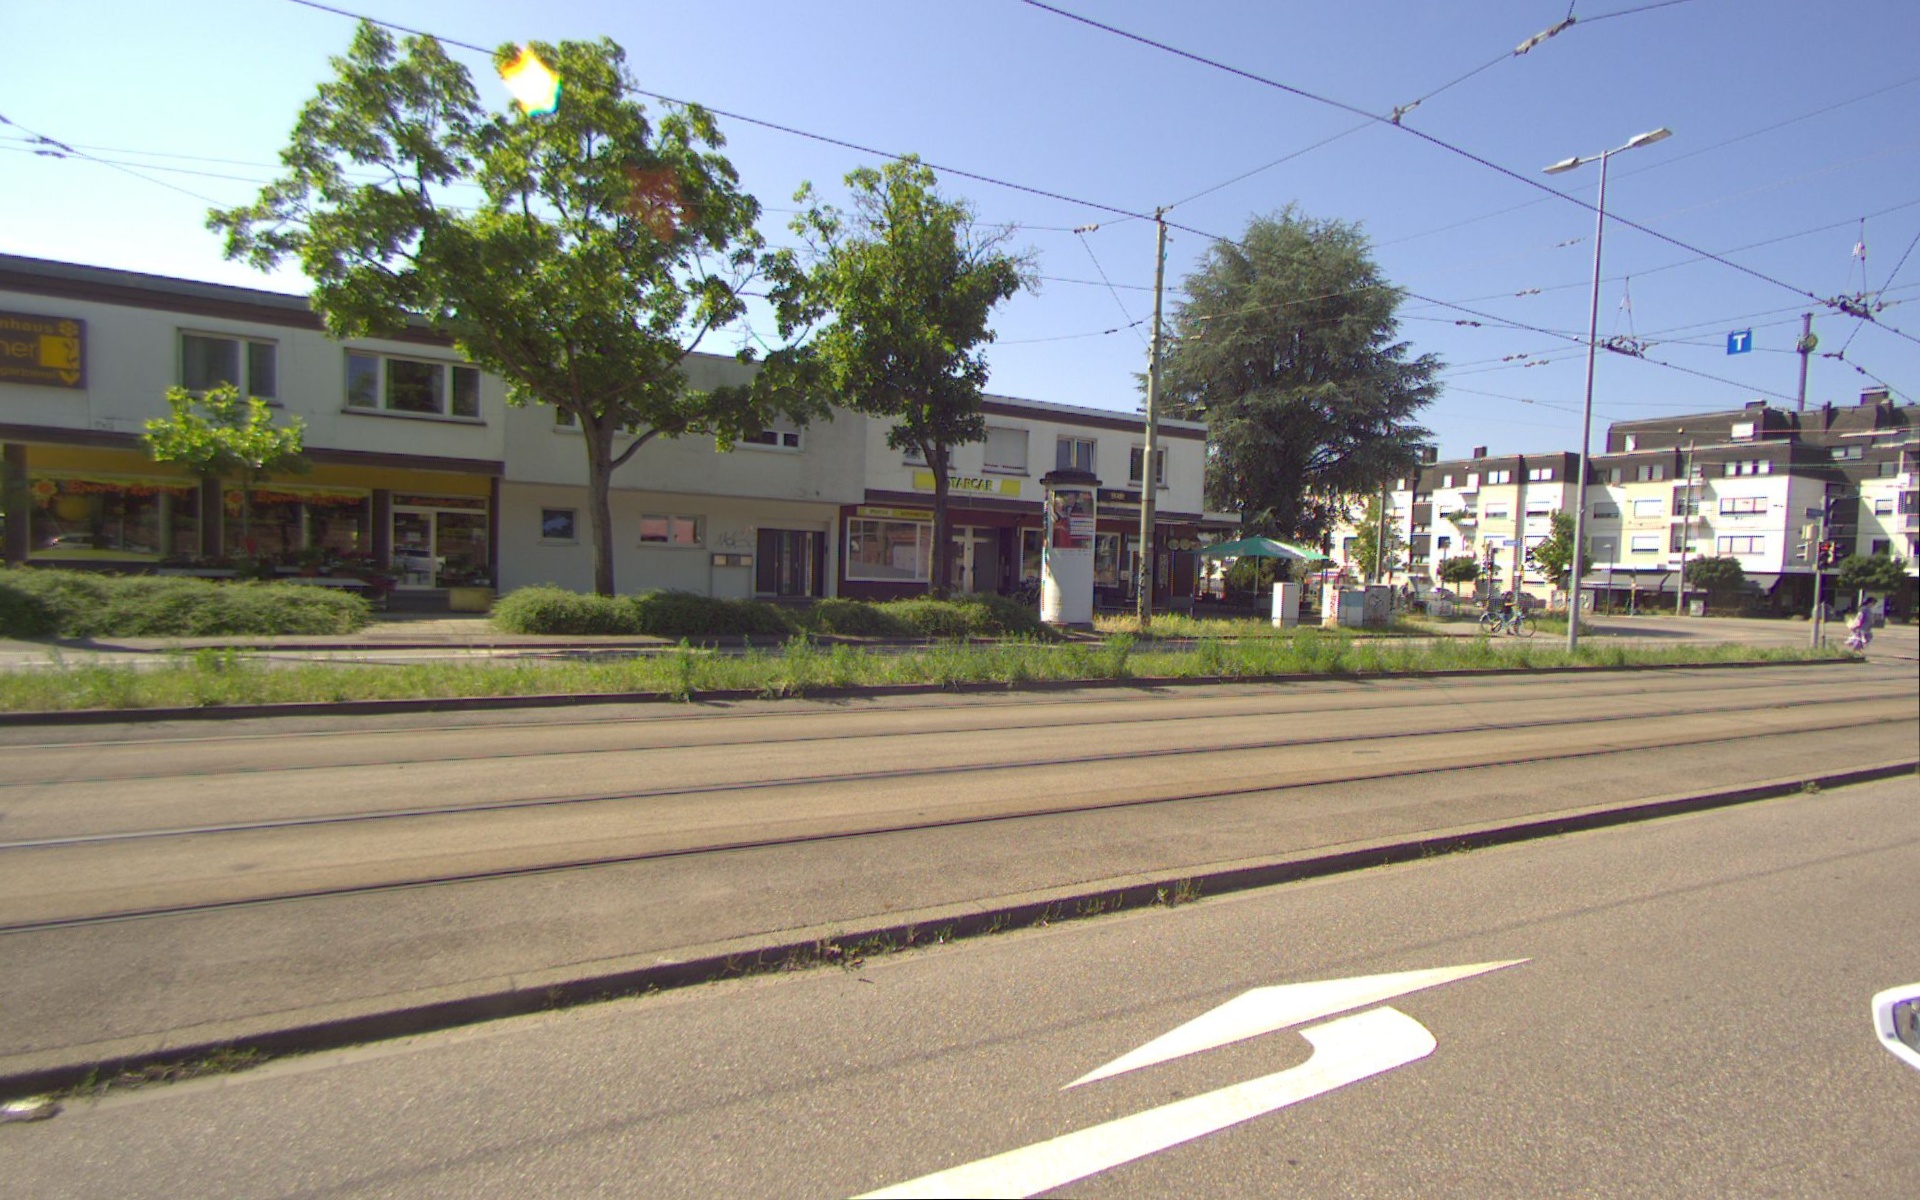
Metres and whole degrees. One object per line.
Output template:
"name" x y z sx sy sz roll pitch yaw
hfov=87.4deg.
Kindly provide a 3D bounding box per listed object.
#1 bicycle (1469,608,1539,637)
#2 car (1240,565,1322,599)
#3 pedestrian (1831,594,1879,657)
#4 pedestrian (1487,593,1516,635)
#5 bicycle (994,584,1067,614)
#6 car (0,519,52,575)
"bicycle" 19.739 0.818 36.460 2.134 0.934 0.553 2 2 19
"car" 23.063 -1.358 72.398 2.224 2.041 5.524 1 4 -31
"pedestrian" 25.978 0.739 29.164 0.923 1.762 0.820 1 2 -37
"pedestrian" 19.848 0.509 36.817 0.800 1.507 0.566 2 2 18
"bicycle" 2.315 -0.034 32.890 2.362 0.900 0.779 1 2 -30
"car" -39.365 -2.181 41.344 2.077 2.203 4.901 1 2 -32
